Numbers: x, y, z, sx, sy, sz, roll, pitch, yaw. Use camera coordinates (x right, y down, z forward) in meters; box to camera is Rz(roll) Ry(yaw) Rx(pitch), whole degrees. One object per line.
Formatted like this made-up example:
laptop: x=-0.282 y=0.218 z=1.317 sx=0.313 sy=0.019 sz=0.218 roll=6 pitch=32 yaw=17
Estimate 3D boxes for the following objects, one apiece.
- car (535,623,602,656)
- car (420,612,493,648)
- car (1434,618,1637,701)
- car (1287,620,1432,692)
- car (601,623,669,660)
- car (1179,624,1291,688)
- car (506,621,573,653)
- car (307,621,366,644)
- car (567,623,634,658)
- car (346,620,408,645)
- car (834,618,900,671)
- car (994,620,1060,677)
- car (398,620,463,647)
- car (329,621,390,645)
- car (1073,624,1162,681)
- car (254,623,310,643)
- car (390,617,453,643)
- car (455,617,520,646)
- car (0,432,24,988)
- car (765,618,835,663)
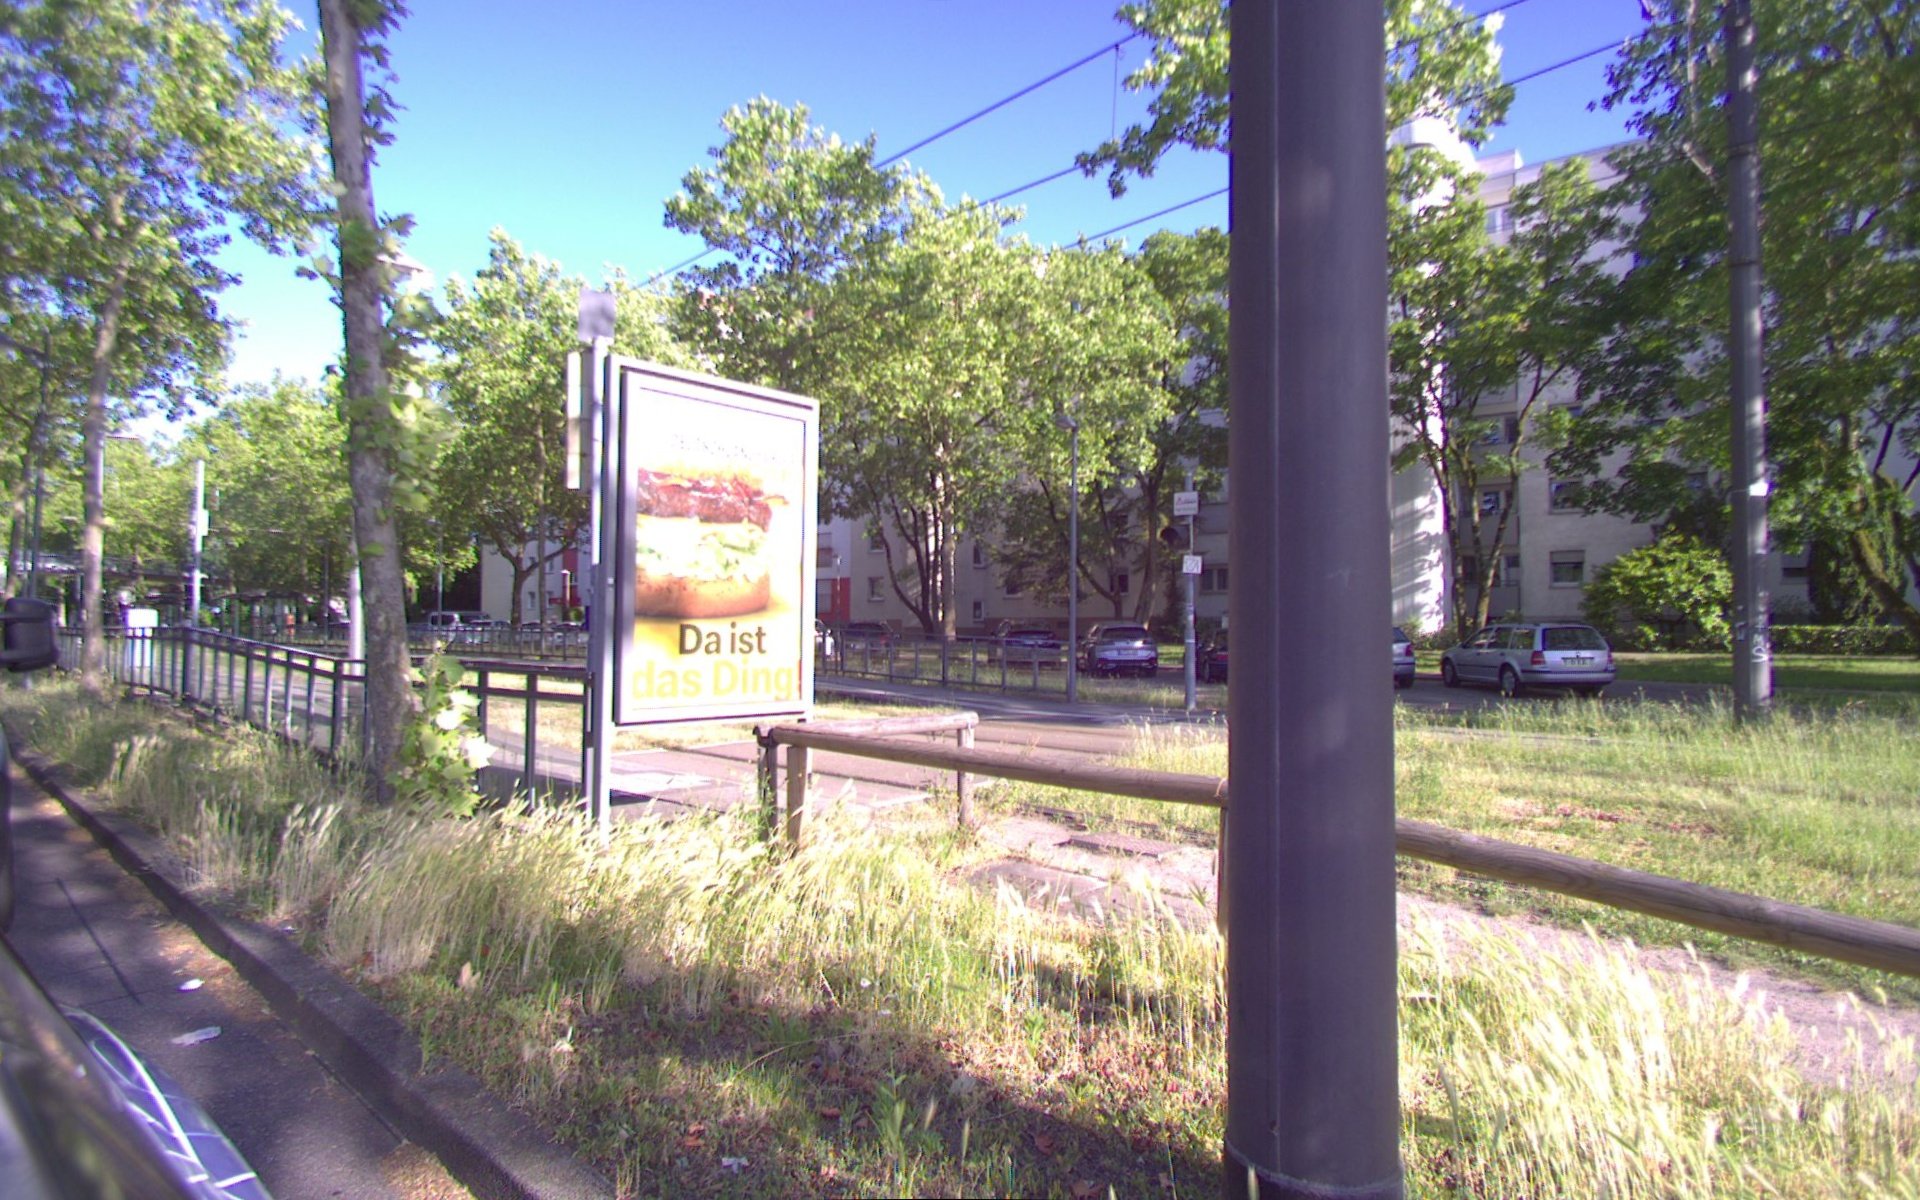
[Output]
car: x=-19.111 y=1.907 z=49.564 sx=1.770 sy=1.510 sz=4.050 roll=-1 pitch=-1 yaw=-1
car: x=-28.431 y=1.667 z=57.303 sx=1.993 sy=1.934 sz=4.433 roll=-1 pitch=-1 yaw=-1
car: x=11.587 y=1.141 z=20.737 sx=1.789 sy=1.498 sz=4.049 roll=-1 pitch=-1 yaw=0
car: x=9.208 y=1.228 z=23.681 sx=1.740 sy=1.498 sz=4.049 roll=-1 pitch=-1 yaw=0
car: x=-14.225 y=1.796 z=44.488 sx=1.770 sy=1.510 sz=4.050 roll=-1 pitch=-1 yaw=-1
car: x=6.749 y=1.336 z=25.267 sx=1.654 sy=1.398 sz=4.049 roll=-1 pitch=-1 yaw=0
car: x=-21.251 y=1.824 z=51.297 sx=1.770 sy=1.510 sz=4.050 roll=-1 pitch=-1 yaw=-1
car: x=-44.692 y=2.301 z=72.616 sx=1.770 sy=1.510 sz=4.050 roll=-1 pitch=-1 yaw=-1
car: x=-16.780 y=1.848 z=47.373 sx=1.770 sy=1.510 sz=4.050 roll=-1 pitch=-1 yaw=-1
car: x=-37.620 y=2.098 z=65.443 sx=1.770 sy=1.510 sz=4.050 roll=-1 pitch=-1 yaw=-1
car: x=-3.122 y=1.488 z=34.806 sx=1.771 sy=1.676 sz=4.047 roll=-1 pitch=-1 yaw=2
car: x=1.901 y=1.368 z=29.750 sx=1.771 sy=1.510 sz=4.047 roll=-1 pitch=-1 yaw=2
car: x=-31.010 y=1.947 z=59.426 sx=1.770 sy=1.510 sz=4.050 roll=-1 pitch=-1 yaw=-1
car: x=-40.130 y=2.169 z=67.701 sx=1.770 sy=1.510 sz=4.050 roll=-1 pitch=-1 yaw=-1
car: x=4.218 y=1.374 z=27.702 sx=1.770 sy=1.398 sz=4.049 roll=-1 pitch=-1 yaw=0
car: x=-53.057 y=2.547 z=79.321 sx=1.770 sy=1.510 sz=4.050 roll=-1 pitch=-1 yaw=-1
car: x=-33.012 y=1.806 z=62.163 sx=1.770 sy=1.510 sz=4.050 roll=-1 pitch=-1 yaw=-1
car: x=-25.976 y=1.712 z=55.744 sx=1.770 sy=1.510 sz=4.050 roll=-1 pitch=-1 yaw=-1
car: x=-6.580 y=0.464 z=5.192 sx=5.659 sy=2.221 sz=2.013 roll=-1 pitch=-2 yaw=41
car: x=-5.797 y=1.437 z=37.071 sx=1.771 sy=1.510 sz=4.047 roll=-1 pitch=-1 yaw=2
